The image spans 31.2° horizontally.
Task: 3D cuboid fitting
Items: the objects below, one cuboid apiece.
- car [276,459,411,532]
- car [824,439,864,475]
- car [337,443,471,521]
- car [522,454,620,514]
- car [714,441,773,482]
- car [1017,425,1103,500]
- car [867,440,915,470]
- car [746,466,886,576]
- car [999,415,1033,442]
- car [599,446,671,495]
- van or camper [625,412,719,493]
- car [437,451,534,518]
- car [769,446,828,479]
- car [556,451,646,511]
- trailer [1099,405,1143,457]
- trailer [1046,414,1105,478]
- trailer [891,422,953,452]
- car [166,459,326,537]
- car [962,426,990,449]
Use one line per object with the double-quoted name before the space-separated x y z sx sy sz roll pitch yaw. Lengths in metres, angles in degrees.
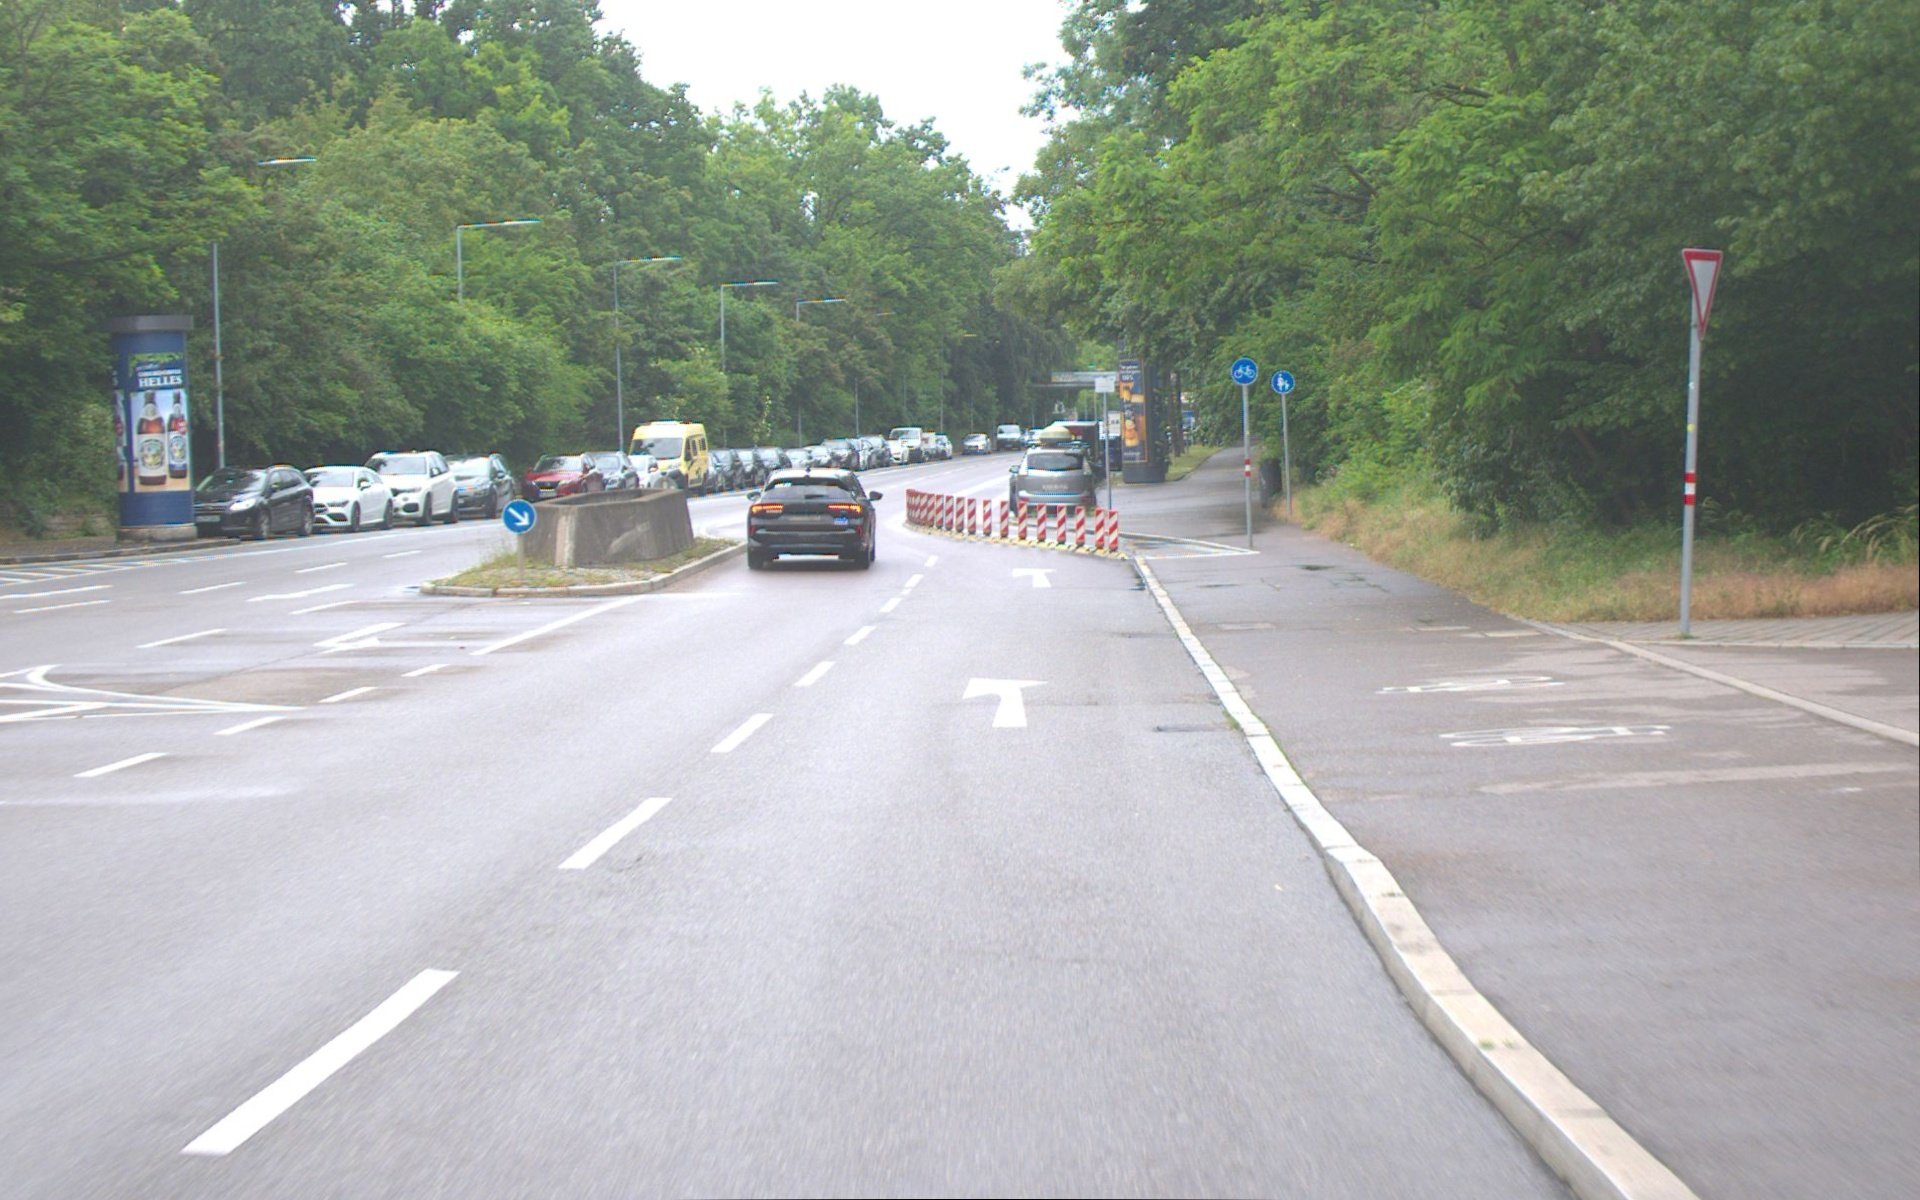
"car" -13.521 -2.326 75.608 1.719 1.455 4.708 -1 3 5
"car" -5.165 -6.380 153.215 1.461 1.565 2.984 -1 3 4
"car" -13.081 -2.821 81.241 1.994 1.759 4.960 -1 3 4
"car" -11.348 -3.408 100.500 1.919 1.611 4.489 -2 3 5
"car" -8.381 -5.399 133.543 1.603 1.505 3.976 -1 3 6
"car" 2.219 -3.094 77.159 1.822 1.609 4.252 -1 3 0
"car" -3.603 -7.623 179.974 1.994 1.483 4.468 -1 3 5
"car" -2.159 -1.200 50.704 1.880 1.460 4.001 0 3 -5
"car" 4.268 -13.036 261.283 2.159 2.006 5.030 -1 3 6
"car" -10.498 -4.194 111.223 1.618 1.443 3.657 -2 3 5
"van or camper" -9.796 -5.064 117.405 2.144 2.618 5.682 -1 3 6
"car" -12.197 -3.007 88.648 1.731 1.643 4.572 0 3 2
"car" -6.713 -5.731 143.066 1.870 1.299 4.470 -1 3 5
"car" -11.028 -3.685 105.832 1.994 1.694 4.616 -1 3 3
"trailer" 8.051 -8.476 172.205 2.132 2.551 4.298 -1 3 3
"trailer" 4.247 -5.654 125.876 1.906 2.239 4.768 -1 3 4
"trailer" -2.138 -9.321 196.051 1.629 1.623 3.665 1 4 36
"car" -14.339 -2.084 69.286 1.749 1.440 4.586 0 3 7
"car" 1.123 -11.194 236.226 1.672 1.508 3.630 0 3 4
